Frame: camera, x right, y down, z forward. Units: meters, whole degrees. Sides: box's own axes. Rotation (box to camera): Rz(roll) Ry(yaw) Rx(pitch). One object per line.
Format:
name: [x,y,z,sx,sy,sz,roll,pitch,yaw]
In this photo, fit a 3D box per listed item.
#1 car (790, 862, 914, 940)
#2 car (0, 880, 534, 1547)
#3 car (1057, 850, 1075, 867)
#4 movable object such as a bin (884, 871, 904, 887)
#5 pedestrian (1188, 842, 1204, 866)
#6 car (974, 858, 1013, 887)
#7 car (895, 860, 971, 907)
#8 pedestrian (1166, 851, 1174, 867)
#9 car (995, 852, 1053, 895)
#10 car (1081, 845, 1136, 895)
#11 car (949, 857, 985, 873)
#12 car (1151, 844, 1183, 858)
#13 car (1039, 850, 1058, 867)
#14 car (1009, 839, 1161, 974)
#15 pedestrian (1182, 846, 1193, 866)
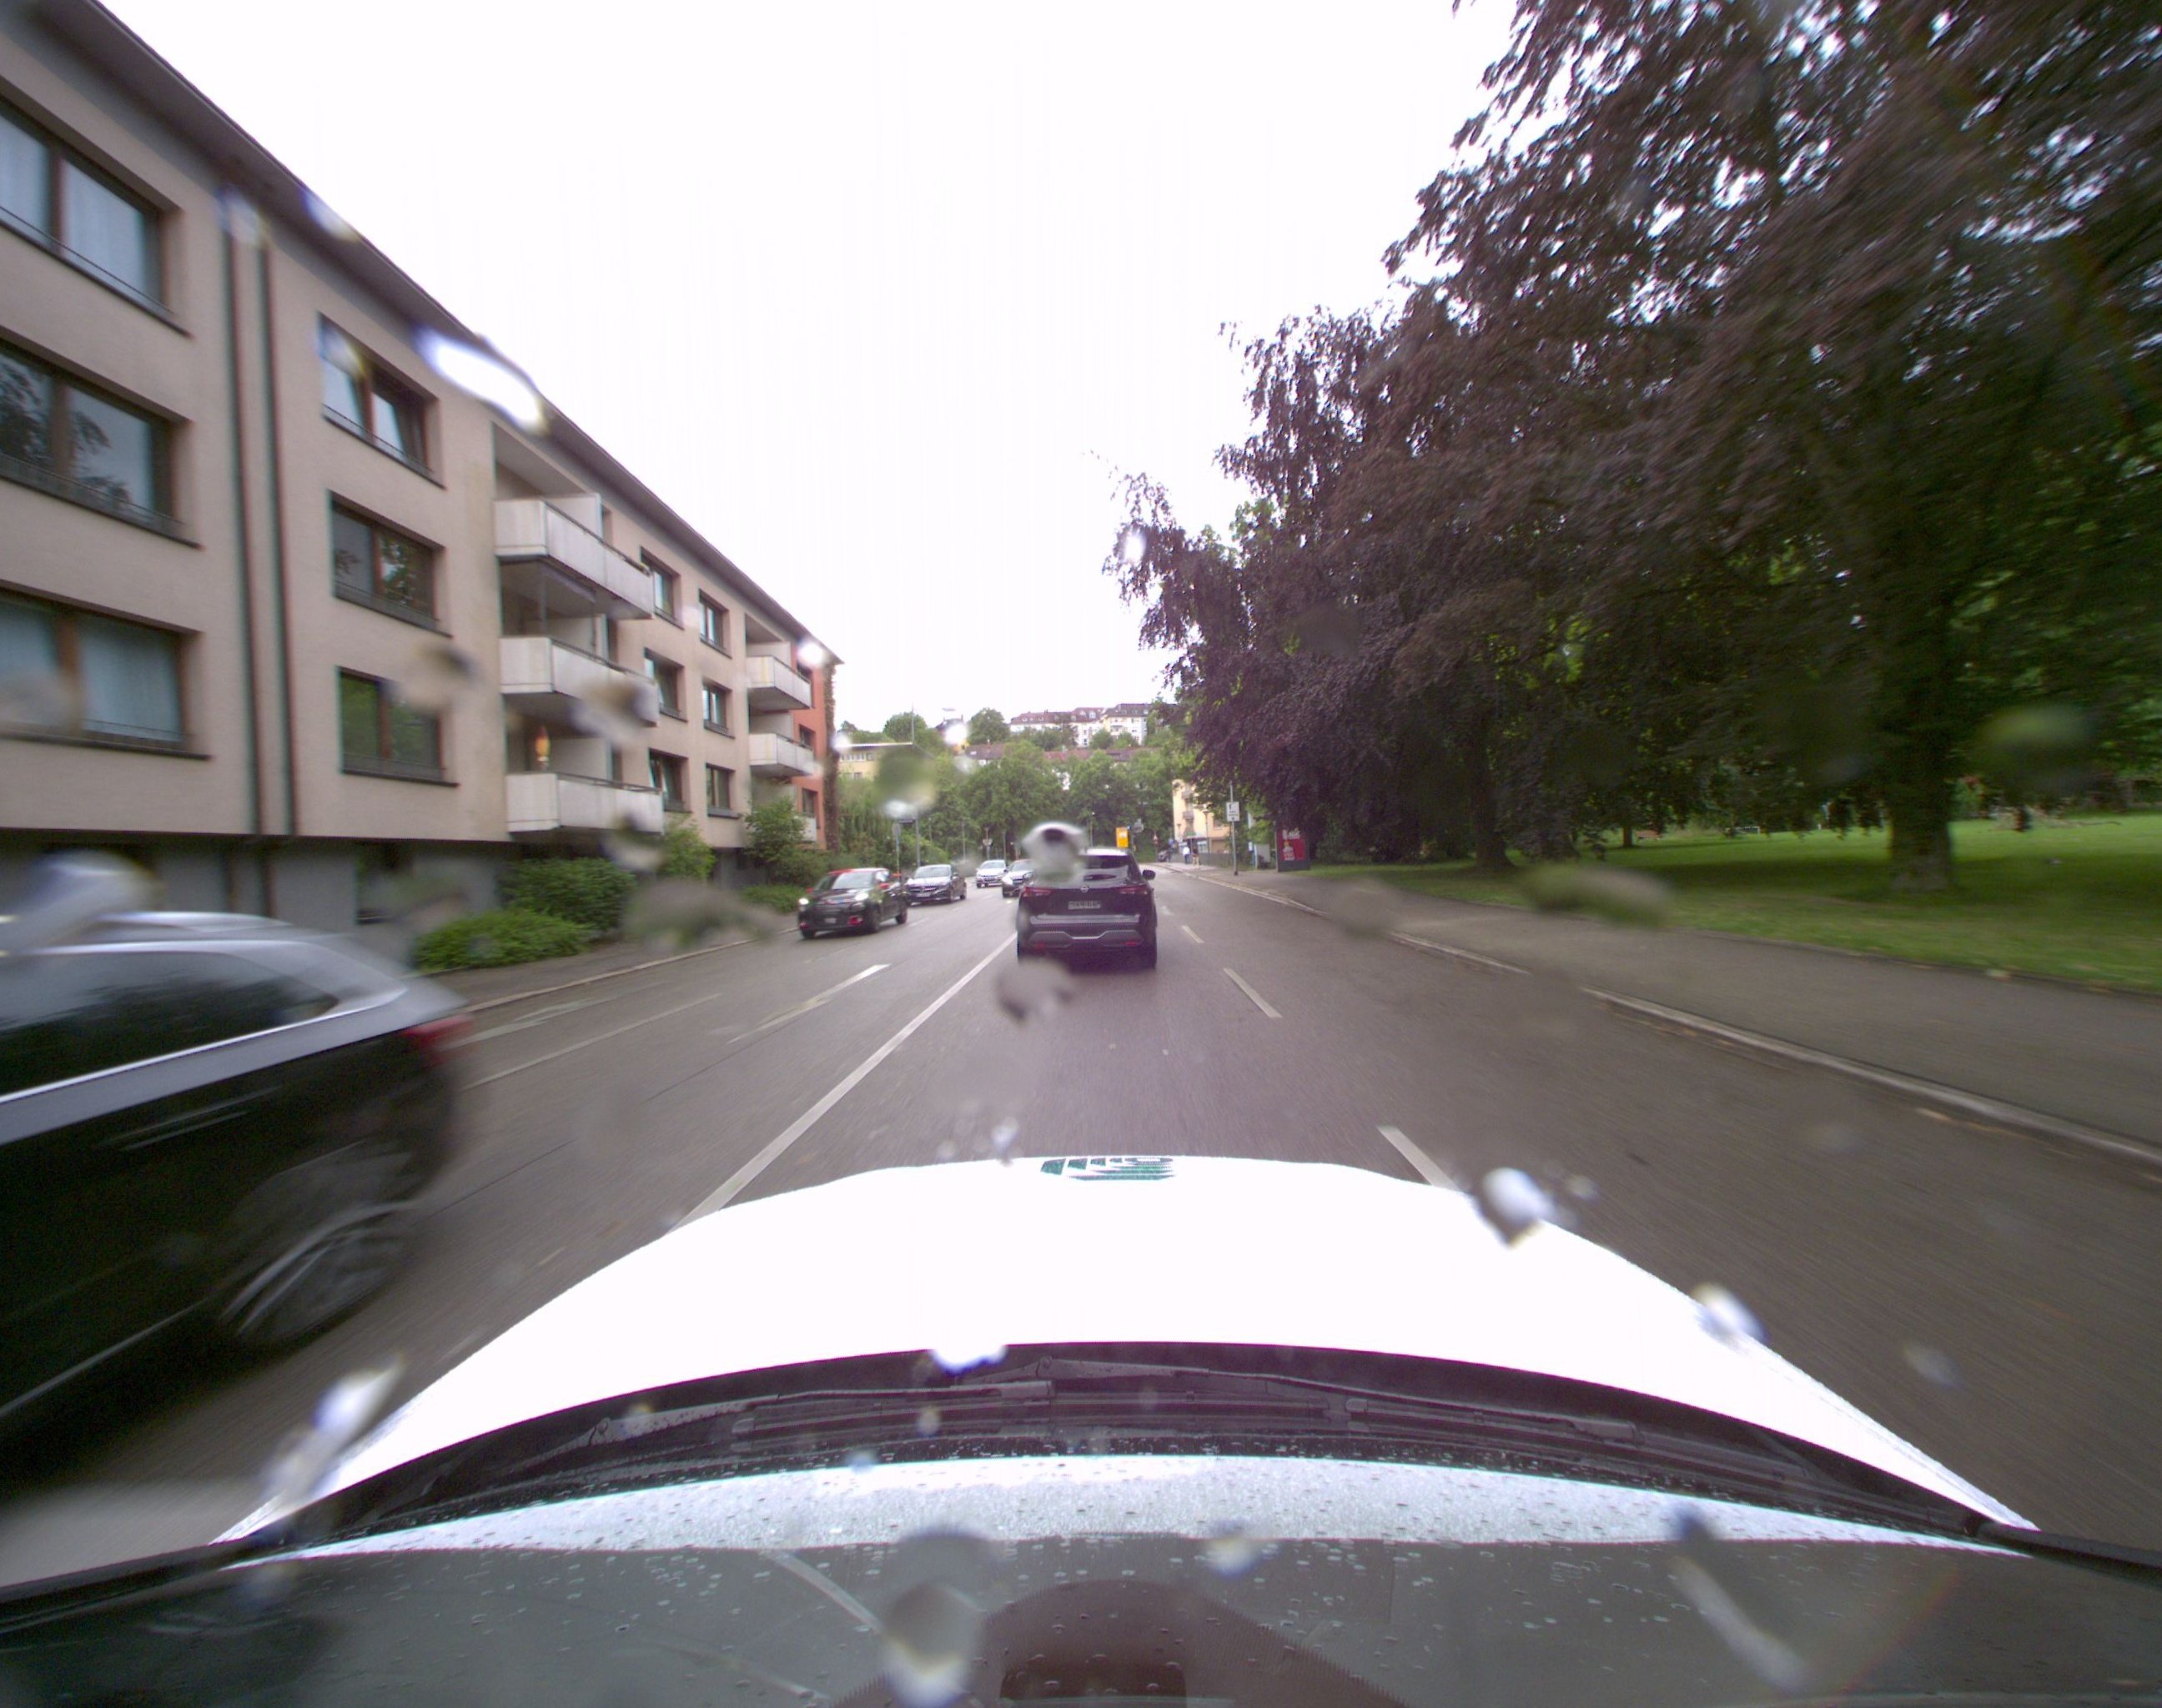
car: [-5.362,1.028,19.577,1.680,1.491,3.891,-4,0,1]
car: [-3.365,0.907,1.510,1.793,1.457,4.484,-5,0,-4]
car: [-2.159,0.580,122.182,2.281,2.308,6.511,-4,0,1]
movable object such as a bin: [-11.271,1.516,49.131,0.962,0.877,0.833,-3,-1,1]
pedestrian: [8.261,-0.012,58.503,0.844,1.676,1.168,-5,-1,1]
car: [-4.900,1.020,46.017,1.808,1.415,4.045,-4,0,-2]
car: [-5.489,1.052,30.819,1.806,1.415,4.684,-4,0,2]
pedestrian: [9.891,0.545,90.674,0.758,1.677,0.782,-5,0,2]
car: [-2.201,0.722,32.538,1.787,1.415,4.337,-4,0,2]
car: [0.972,0.521,28.920,1.804,1.603,4.002,-1,0,2]
car: [-15.329,1.525,109.970,4.738,1.854,1.995,-3,1,-7]
car: [12.914,-0.458,122.818,4.387,1.649,1.868,-4,-1,-24]
car: [-3.397,0.426,86.445,1.808,1.579,4.230,-4,0,0]
car: [0.115,0.633,11.964,1.804,1.603,4.002,-2,0,2]
pedestrian: [9.730,0.169,74.660,0.777,1.752,1.061,-3,-1,1]
